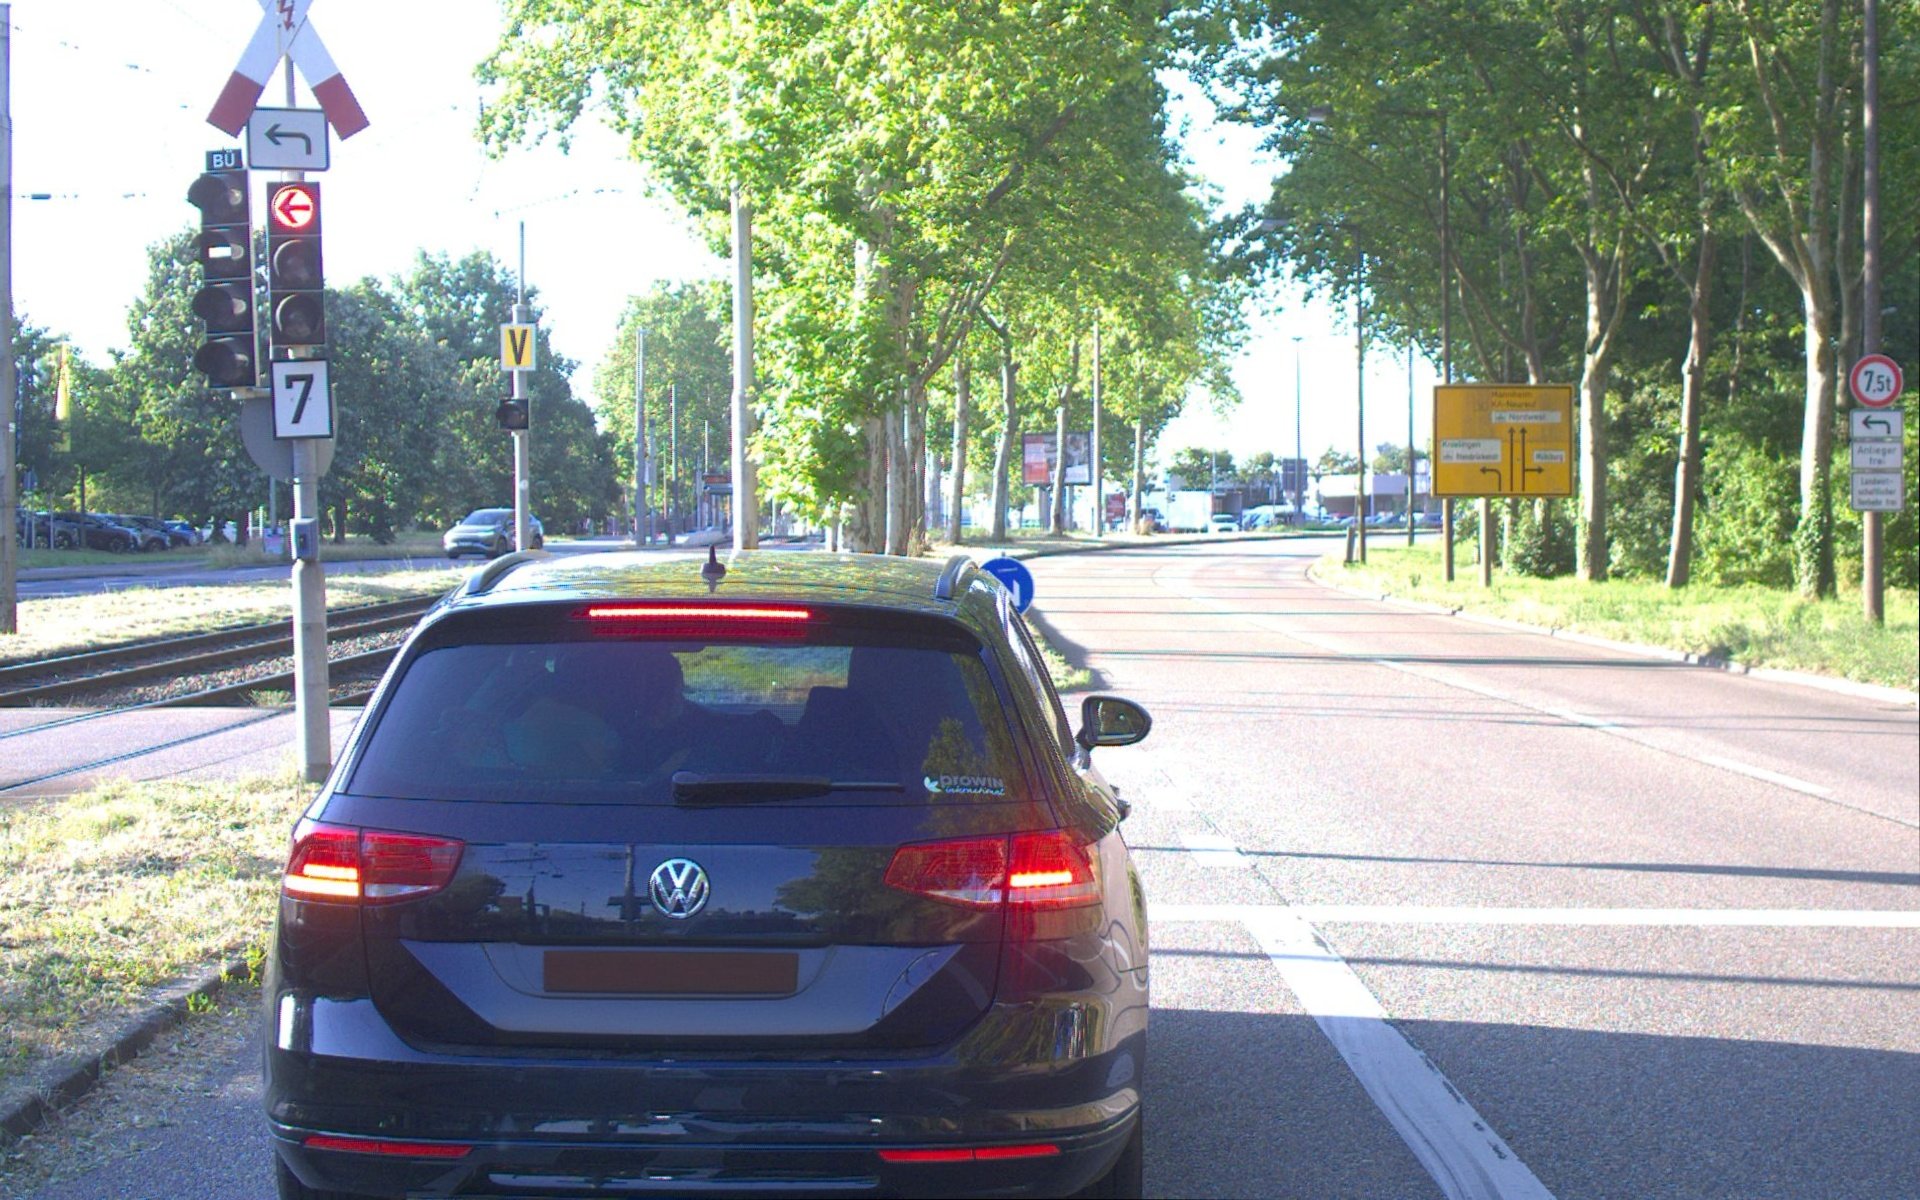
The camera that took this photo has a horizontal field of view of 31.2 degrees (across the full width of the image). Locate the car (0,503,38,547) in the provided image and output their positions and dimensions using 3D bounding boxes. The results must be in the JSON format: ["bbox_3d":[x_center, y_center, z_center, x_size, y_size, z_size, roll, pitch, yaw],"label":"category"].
[{"bbox_3d":[-36.098,-2.777,126.478,3.986,1.615,1.744,0,1,-5],"label":"car"}]

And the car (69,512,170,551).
[{"bbox_3d":[-36.033,-2.936,147.383,3.986,1.615,1.744,0,1,-5],"label":"car"}]

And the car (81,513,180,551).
[{"bbox_3d":[-36.330,-2.965,150.546,3.986,1.615,1.744,0,1,-5],"label":"car"}]

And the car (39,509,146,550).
[{"bbox_3d":[-35.366,-2.872,140.227,3.986,1.615,1.744,0,1,-5],"label":"car"}]

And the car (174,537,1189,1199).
[{"bbox_3d":[-0.532,0.600,7.929,1.795,1.459,3.583,1,1,-1],"label":"car"}]

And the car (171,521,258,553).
[{"bbox_3d":[-36.746,-3.097,169.458,3.986,1.550,1.744,0,1,-4],"label":"car"}]

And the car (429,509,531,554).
[{"bbox_3d":[-16.142,-2.313,115.745,1.863,1.476,4.169,1,2,16],"label":"car"}]

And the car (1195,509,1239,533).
[{"bbox_3d":[16.051,-4.950,215.024,1.861,1.476,4.093,0,1,-9],"label":"car"}]

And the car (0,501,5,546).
[{"bbox_3d":[-36.442,-2.760,123.265,3.986,1.615,1.744,0,1,-5],"label":"car"}]
